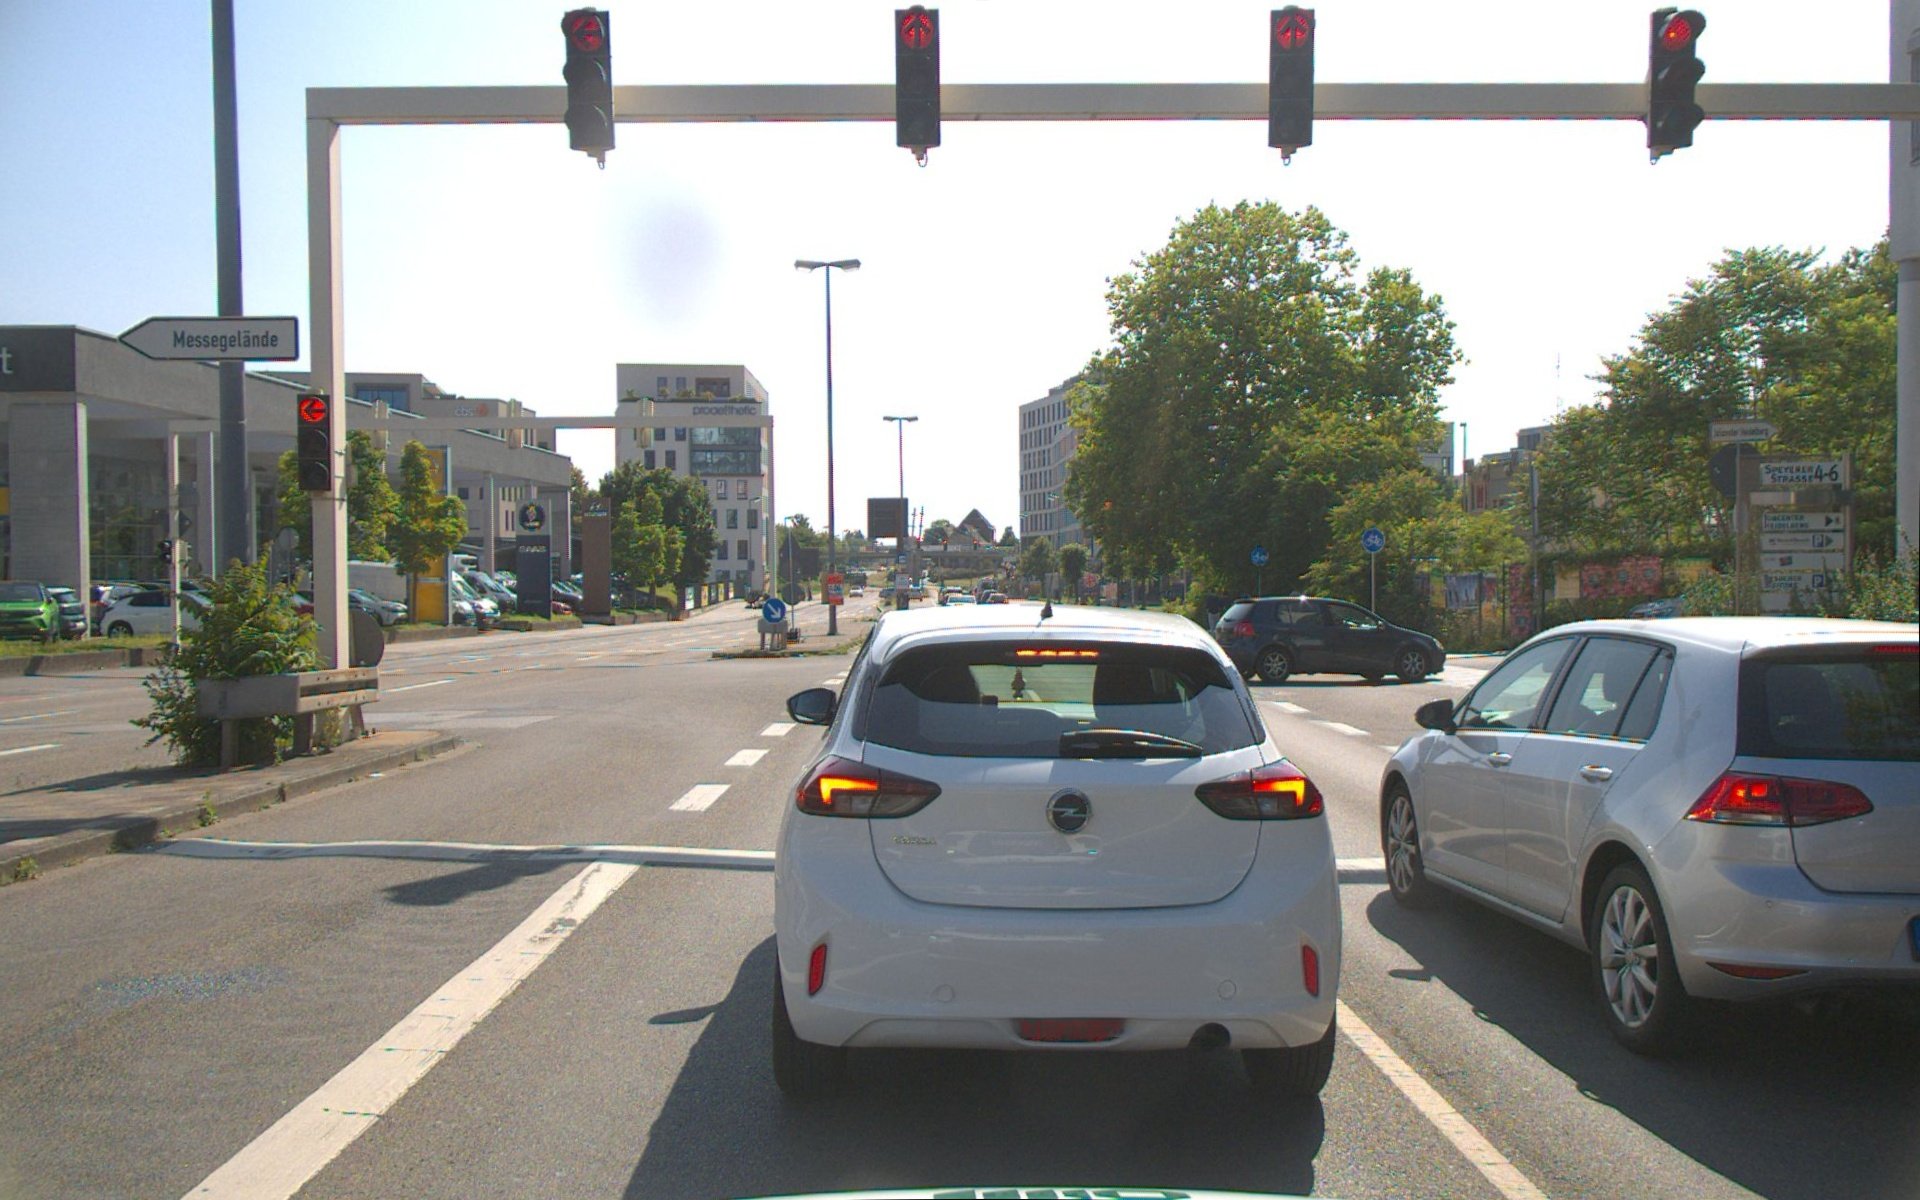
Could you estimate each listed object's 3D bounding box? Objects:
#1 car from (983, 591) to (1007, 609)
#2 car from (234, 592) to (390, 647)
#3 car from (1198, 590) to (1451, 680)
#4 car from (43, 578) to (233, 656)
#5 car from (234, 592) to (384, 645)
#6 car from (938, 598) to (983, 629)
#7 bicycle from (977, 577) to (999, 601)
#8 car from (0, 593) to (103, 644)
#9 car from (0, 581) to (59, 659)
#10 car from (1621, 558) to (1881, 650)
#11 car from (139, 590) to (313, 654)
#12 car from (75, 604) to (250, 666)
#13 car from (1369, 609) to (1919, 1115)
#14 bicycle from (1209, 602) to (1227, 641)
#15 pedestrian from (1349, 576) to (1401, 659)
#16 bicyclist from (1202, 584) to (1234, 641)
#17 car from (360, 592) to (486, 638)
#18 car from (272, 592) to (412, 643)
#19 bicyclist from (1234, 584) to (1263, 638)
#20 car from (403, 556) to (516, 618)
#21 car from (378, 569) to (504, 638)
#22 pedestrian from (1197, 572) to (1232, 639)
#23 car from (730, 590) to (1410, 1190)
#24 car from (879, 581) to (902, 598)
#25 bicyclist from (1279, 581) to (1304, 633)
[{"bbox_3d":[2.820,0.032,133.231,1.769,1.410,3.999,1,-1,-1],"label":"car"},{"bbox_3d":[-21.015,0.619,53.763,4.270,1.726,1.999,0,0,-3],"label":"car"},{"bbox_3d":[6.360,0.578,29.093,3.913,1.467,1.996,-1,0,-9],"label":"car"},{"bbox_3d":[-20.728,0.406,41.838,3.793,1.870,1.999,-1,0,-4],"label":"car"},{"bbox_3d":[-21.994,0.611,55.980,4.270,1.726,1.999,-1,0,-4],"label":"car"},{"bbox_3d":[0.033,0.633,77.428,1.952,1.355,4.001,1,-1,2],"label":"car"},{"bbox_3d":[2.612,-1.010,155.451,1.953,2.195,3.999,-1,0,-1],"label":"bicycle"},{"bbox_3d":[-26.262,0.539,45.523,4.276,1.290,1.996,-2,-1,-9],"label":"car"},{"bbox_3d":[-22.558,0.497,38.944,1.887,1.764,3.250,-1,-1,-37],"label":"car"},{"bbox_3d":[15.990,0.087,33.658,4.325,1.578,2.002,-3,0,10],"label":"car"},{"bbox_3d":[-21.523,0.620,48.611,4.211,1.796,1.999,-1,0,-4],"label":"car"},{"bbox_3d":[-22.050,0.939,45.864,3.912,1.627,1.997,-1,0,-8],"label":"car"},{"bbox_3d":[3.128,0.776,6.868,1.771,1.454,3.999,-1,0,-2],"label":"car"},{"bbox_3d":[8.370,0.676,53.617,0.365,1.238,1.153,1,0,-1],"label":"bicycle"},{"bbox_3d":[10.472,0.430,41.755,1.006,2.049,1.038,0,0,-1],"label":"pedestrian"},{"bbox_3d":[8.353,0.400,53.608,0.861,1.803,0.863,0,0,-1],"label":"bicyclist"},{"bbox_3d":[-21.064,0.561,64.959,4.265,1.726,2.001,-1,0,4],"label":"car"},{"bbox_3d":[-22.058,0.611,59.170,4.270,1.726,1.999,-1,0,-4],"label":"car"},{"bbox_3d":[9.108,0.350,52.293,0.675,1.672,0.775,0,0,-9],"label":"bicyclist"},{"bbox_3d":[-21.982,-0.577,72.707,4.265,2.646,2.001,-1,0,4],"label":"car"},{"bbox_3d":[-21.136,0.144,67.407,4.401,2.731,2.130,-1,0,8],"label":"car"},{"bbox_3d":[8.788,0.177,57.072,1.006,2.278,1.038,0,0,-1],"label":"pedestrian"},{"bbox_3d":[0.252,0.736,6.260,1.743,1.520,3.999,-1,0,-1],"label":"car"},{"bbox_3d":[-5.929,-0.891,141.445,1.769,1.410,3.999,1,-1,-1],"label":"car"},{"bbox_3d":[10.601,0.225,52.838,0.639,1.666,0.659,1,-1,-1],"label":"bicyclist"}]
